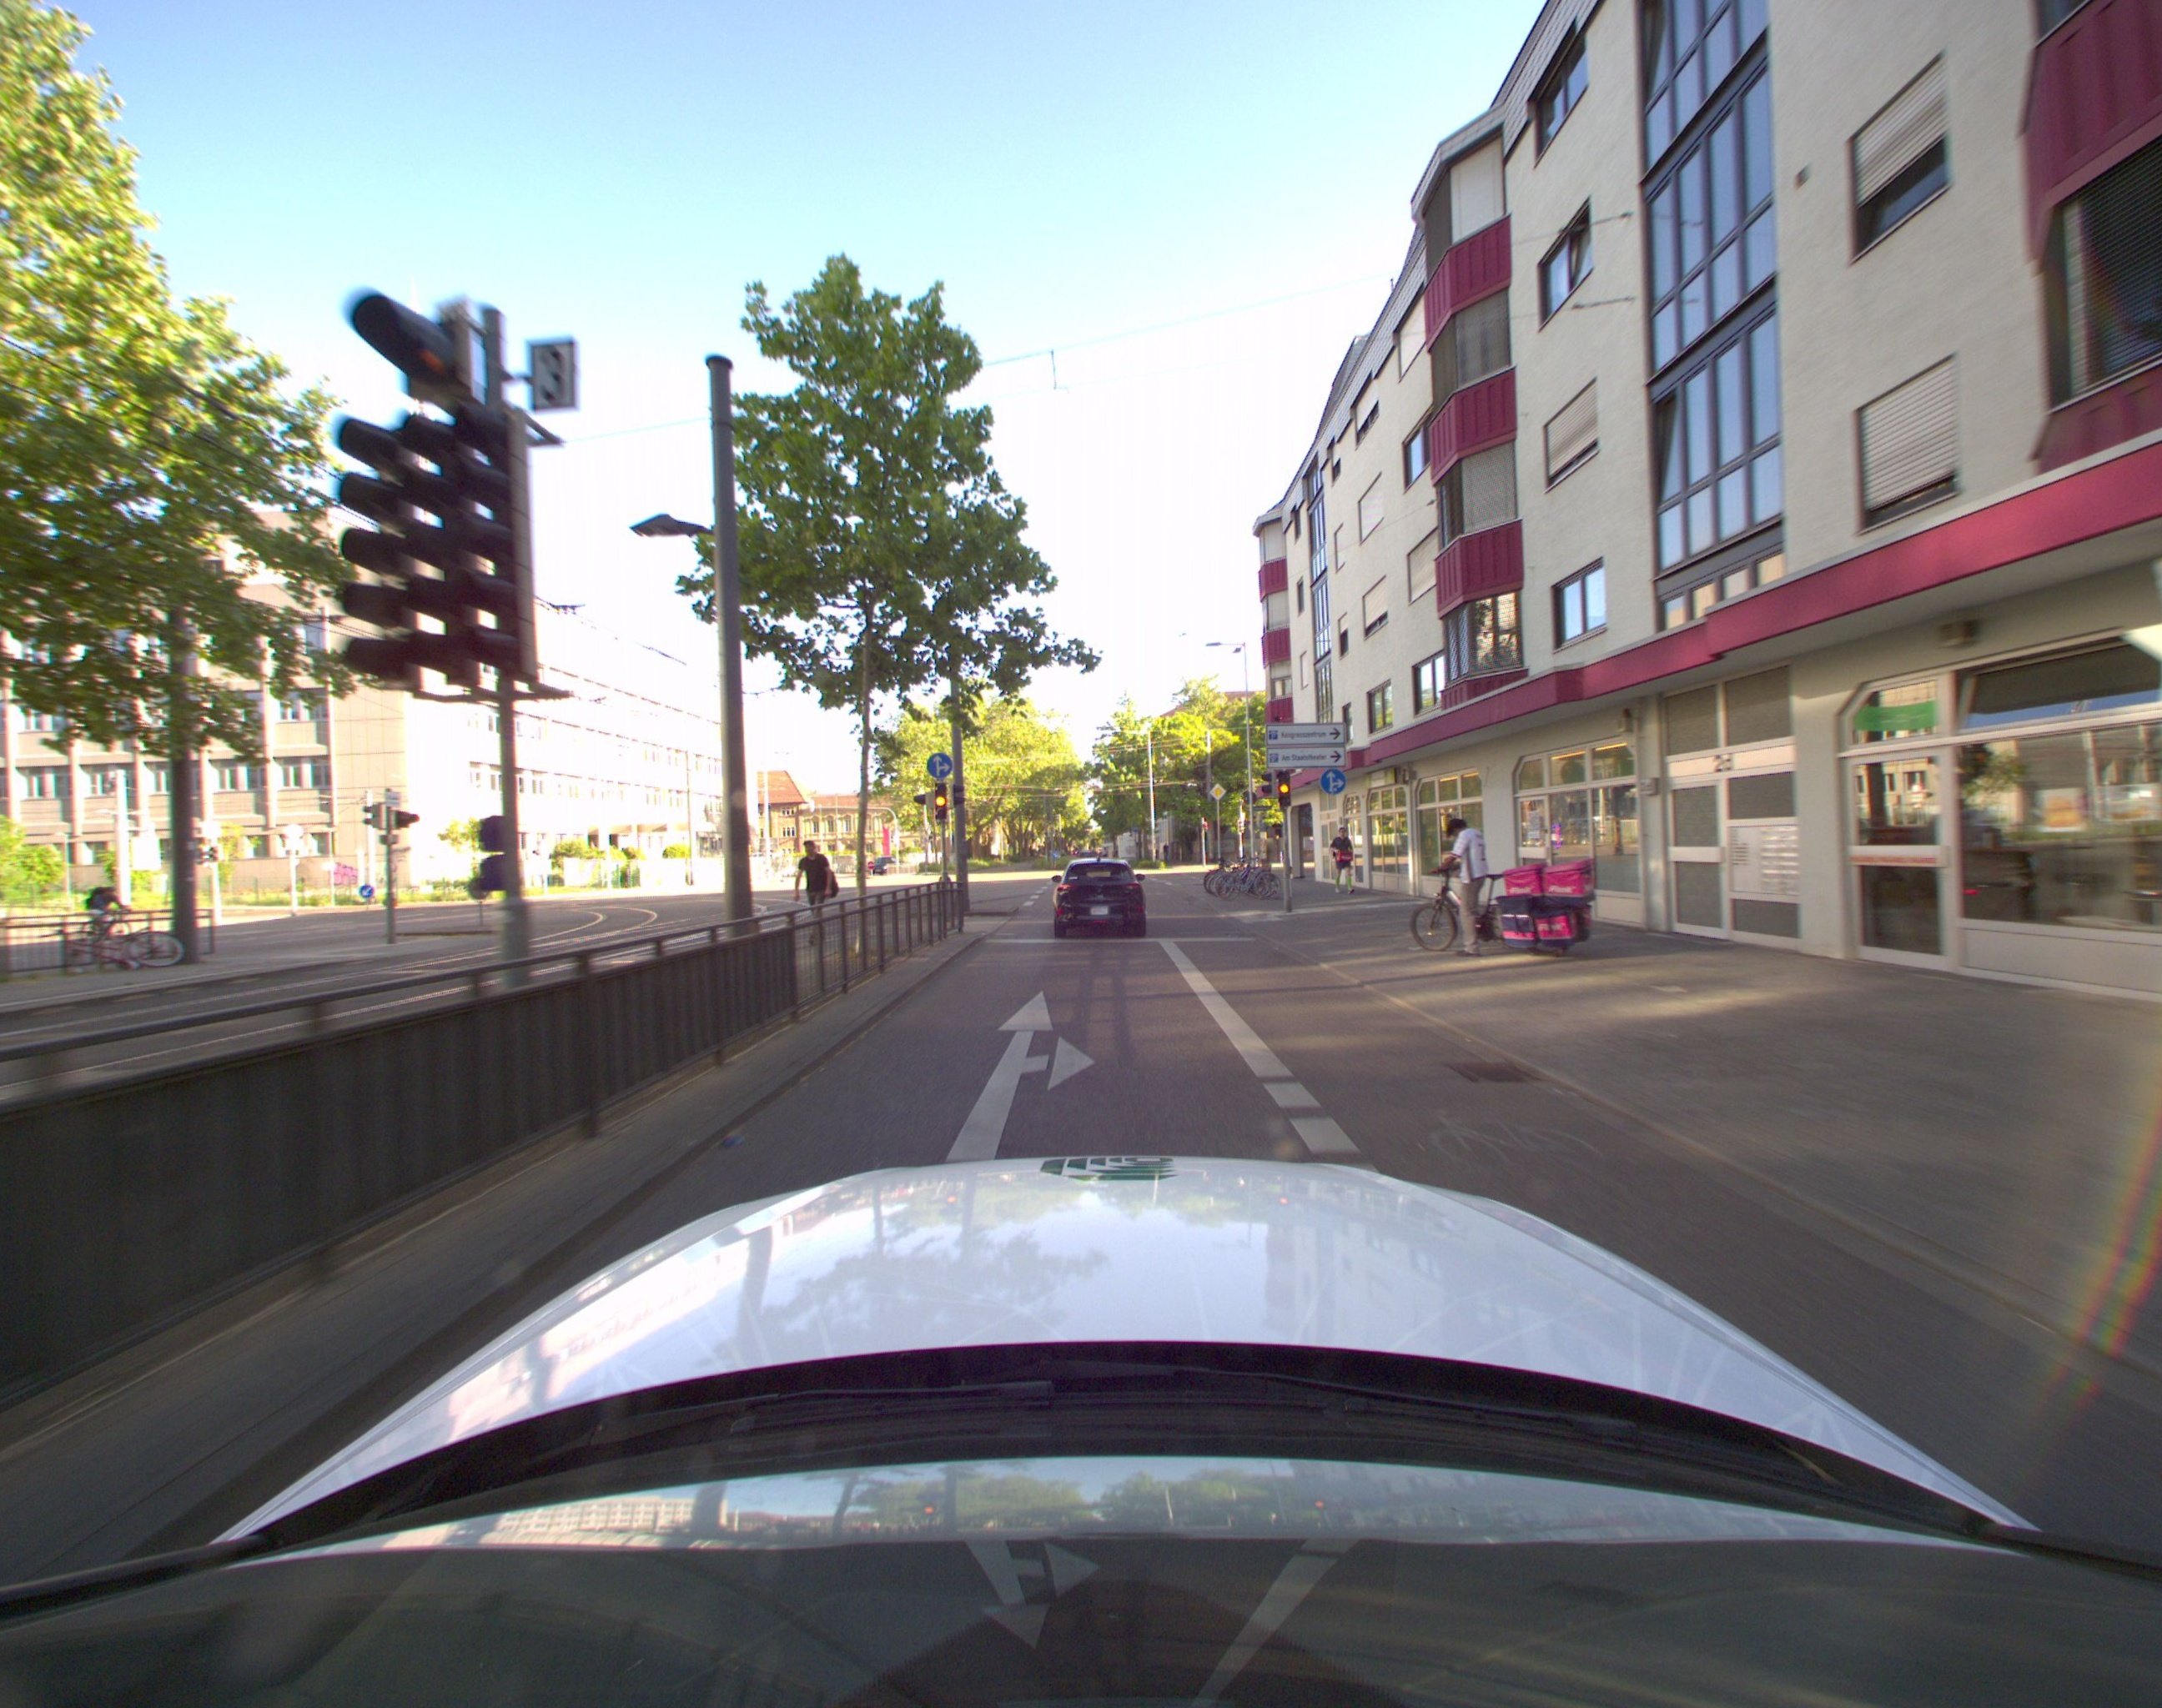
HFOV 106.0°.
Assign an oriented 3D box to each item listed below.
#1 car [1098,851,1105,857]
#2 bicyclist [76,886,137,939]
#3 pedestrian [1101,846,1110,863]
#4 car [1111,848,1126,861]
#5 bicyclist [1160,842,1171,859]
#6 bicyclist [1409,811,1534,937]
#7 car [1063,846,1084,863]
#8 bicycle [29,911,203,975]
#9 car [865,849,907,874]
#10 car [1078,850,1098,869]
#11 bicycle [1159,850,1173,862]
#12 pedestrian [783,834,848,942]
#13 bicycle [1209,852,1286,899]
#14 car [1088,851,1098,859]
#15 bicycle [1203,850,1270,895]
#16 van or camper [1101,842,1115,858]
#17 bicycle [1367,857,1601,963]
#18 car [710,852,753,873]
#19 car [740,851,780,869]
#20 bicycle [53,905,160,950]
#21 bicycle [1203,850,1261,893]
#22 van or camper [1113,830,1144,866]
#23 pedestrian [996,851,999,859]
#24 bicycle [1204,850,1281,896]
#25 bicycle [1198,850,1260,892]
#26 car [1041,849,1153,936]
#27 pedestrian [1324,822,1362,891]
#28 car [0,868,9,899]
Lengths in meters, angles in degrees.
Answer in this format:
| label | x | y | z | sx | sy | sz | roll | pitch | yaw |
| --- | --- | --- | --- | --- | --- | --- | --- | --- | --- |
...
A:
| label | x | y | z | sx | sy | sz | roll | pitch | yaw |
| --- | --- | --- | --- | --- | --- | --- | --- | --- | --- |
| car | 5.292 | 0.006 | 209.898 | 1.897 | 1.425 | 4.218 | -2 | 1 | 2 |
| bicyclist | -29.170 | 1.730 | 24.390 | 0.881 | 1.494 | 0.719 | -2 | 0 | -16 |
| pedestrian | 2.969 | 0.041 | 97.634 | 1.032 | 2.024 | 1.212 | -2 | 0 | 0 |
| car | 4.845 | 0.049 | 106.117 | 1.784 | 1.510 | 3.875 | -4 | 0 | 2 |
| bicyclist | 7.744 | -0.343 | 74.598 | 0.749 | 1.510 | 0.699 | -2 | 0 | -13 |
| bicyclist | 5.129 | 0.234 | 10.719 | 1.065 | 1.540 | 1.067 | -2 | 0 | -36 |
| car | -0.740 | 0.034 | 83.407 | 1.987 | 1.627 | 4.470 | 0 | 0 | 0 |
| bicycle | -16.386 | 1.489 | 13.898 | 0.808 | 0.946 | 1.729 | -2 | -2 | 7 |
| car | -16.513 | 0.637 | 69.231 | 1.982 | 1.947 | 4.434 | -2 | 1 | 8 |
| car | 0.663 | 0.501 | 76.467 | 1.826 | 1.622 | 4.286 | -1 | 0 | 1 |
| bicycle | 7.776 | 0.156 | 74.527 | 0.640 | 1.070 | 1.942 | -2 | 0 | -12 |
| pedestrian | -4.415 | 0.548 | 13.583 | 0.730 | 1.746 | 0.713 | -2 | 0 | 6 |
| bicycle | 4.506 | 0.578 | 22.128 | 1.935 | 1.170 | 0.572 | -2 | 0 | -2 |
| car | 2.402 | 0.192 | 160.921 | 1.897 | 1.425 | 4.218 | -2 | 1 | 2 |
| bicycle | 4.497 | 0.519 | 23.636 | 1.822 | 1.220 | 0.497 | -2 | 0 | 4 |
| van or camper | 5.052 | -0.747 | 152.657 | 2.477 | 2.993 | 5.437 | 0 | 0 | 2 |
| bicycle | 5.175 | 0.662 | 10.672 | 0.968 | 1.183 | 2.569 | -2 | 0 | -36 |
| car | -36.464 | 0.825 | 85.062 | 1.983 | 2.013 | 4.733 | -3 | 0 | 6 |
| car | -33.439 | 0.638 | 84.878 | 1.983 | 1.703 | 4.385 | -3 | 0 | 6 |
| bicycle | -29.159 | 2.174 | 24.394 | 2.040 | 1.189 | 0.587 | -2 | 0 | -16 |
| bicycle | 4.464 | 0.511 | 24.208 | 1.614 | 1.199 | 0.497 | -2 | 0 | 5 |
| van or camper | 4.581 | -0.567 | 79.332 | 2.368 | 3.125 | 7.550 | -5 | 0 | 0 |
| pedestrian | -16.989 | 0.178 | 165.955 | 0.656 | 1.622 | 0.615 | 0 | 0 | 0 |
| bicycle | 4.496 | 0.516 | 22.745 | 1.972 | 1.199 | 0.590 | -2 | 0 | -4 |
| bicycle | 4.516 | 0.514 | 24.955 | 1.793 | 1.199 | 0.546 | -2 | -1 | 5 |
| car | 0.361 | 0.654 | 16.176 | 1.897 | 1.425 | 4.218 | -2 | 1 | 2 |
| pedestrian | 7.272 | 0.065 | 22.633 | 0.720 | 1.857 | 0.801 | -2 | 0 | 1 |
| car | -71.924 | 2.027 | 51.842 | 1.987 | 2.013 | 4.001 | -2 | 1 | 1 |
